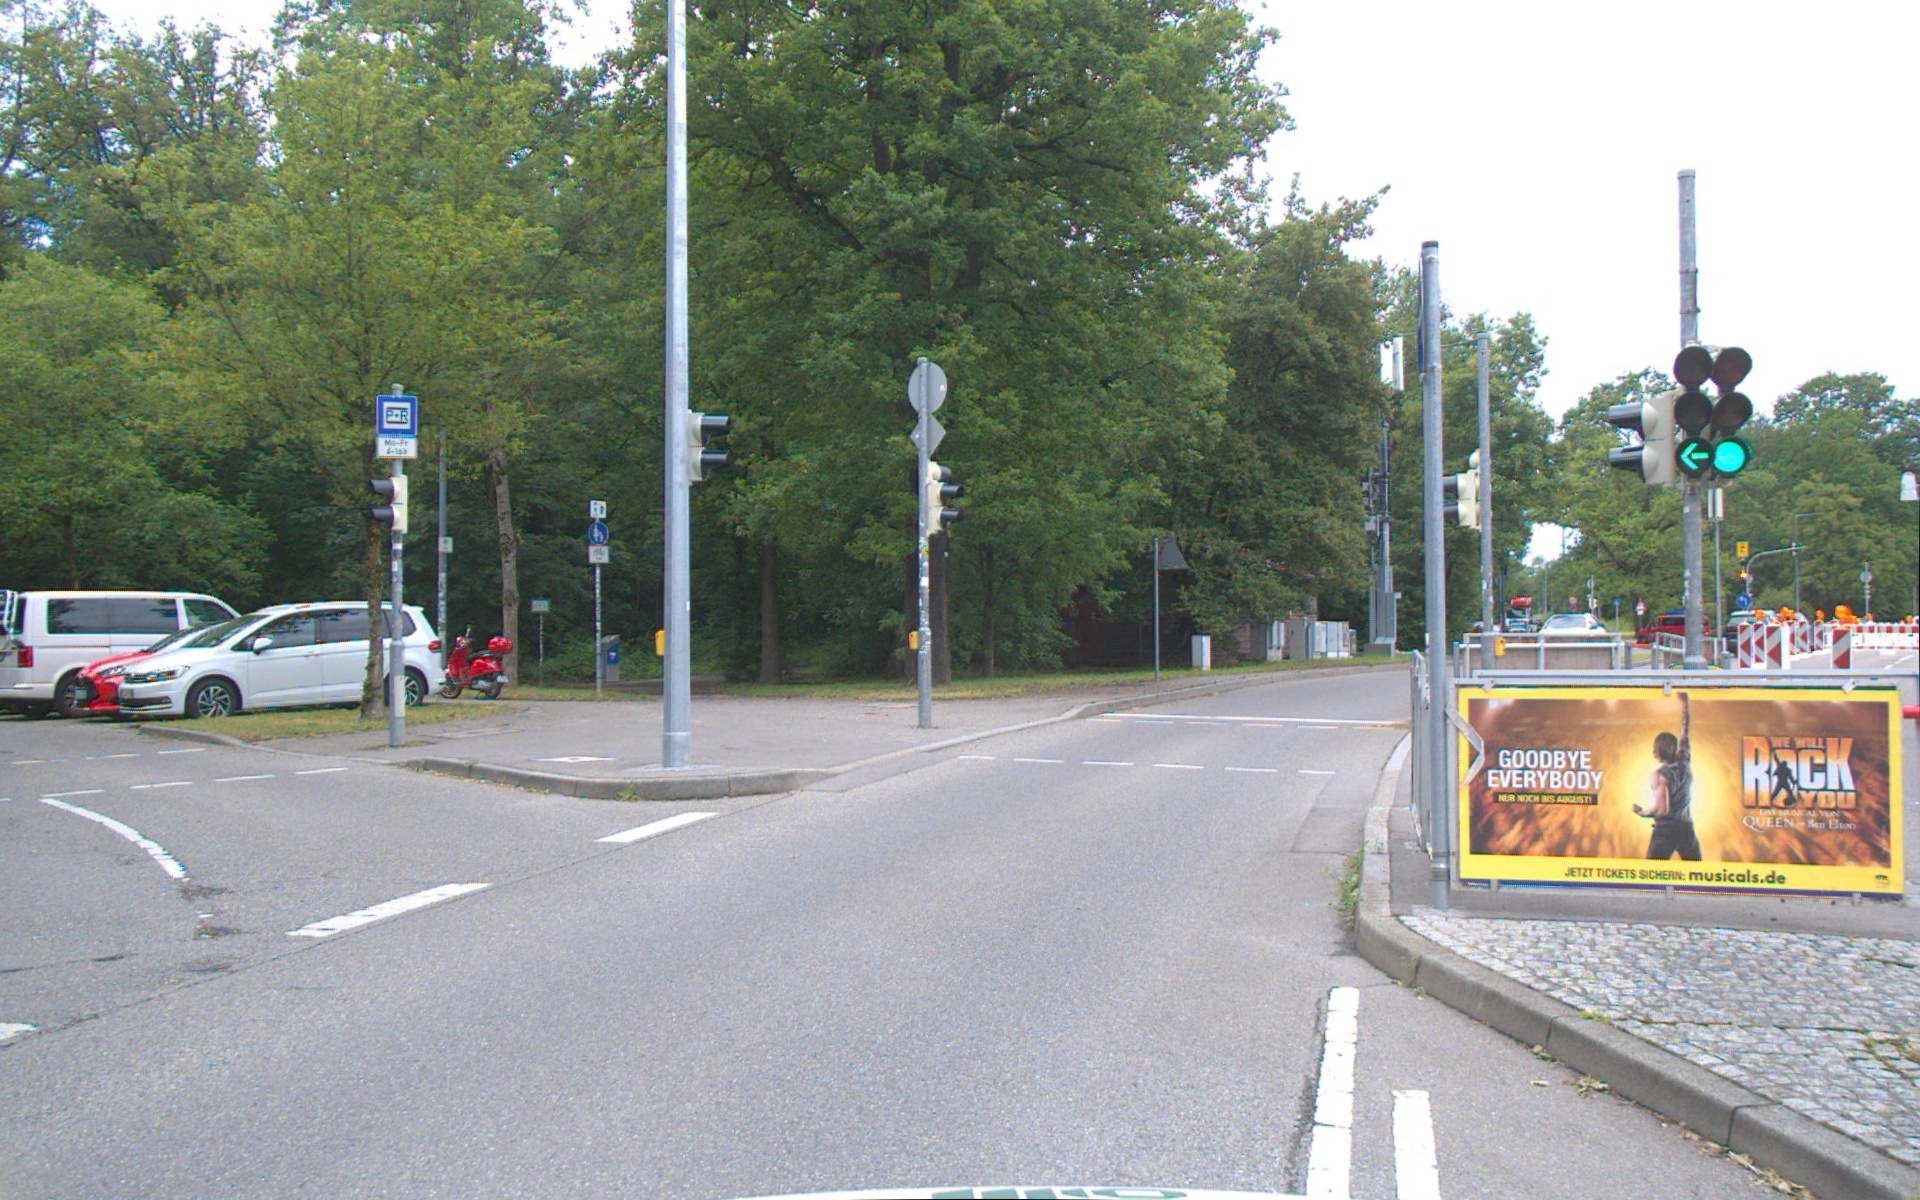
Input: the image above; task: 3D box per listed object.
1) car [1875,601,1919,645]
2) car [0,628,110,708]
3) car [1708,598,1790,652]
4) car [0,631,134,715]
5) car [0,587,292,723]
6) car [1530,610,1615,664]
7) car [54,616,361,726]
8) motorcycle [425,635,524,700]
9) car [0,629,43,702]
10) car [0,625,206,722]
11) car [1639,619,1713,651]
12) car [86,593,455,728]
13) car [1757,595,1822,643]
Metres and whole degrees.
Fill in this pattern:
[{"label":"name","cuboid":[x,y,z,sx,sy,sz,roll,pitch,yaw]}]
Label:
[{"label":"car","cuboid":[42.925,1.033,73.103,1.971,1.915,3.962,1,-1,-28]},{"label":"car","cuboid":[-19.341,1.355,32.087,1.817,1.501,4.765,-2,0,38]},{"label":"car","cuboid":[27.039,0.864,56.629,1.959,1.747,3.986,0,-1,34]},{"label":"car","cuboid":[-17.658,1.361,30.471,1.840,1.509,3.982,-4,-4,37]},{"label":"car","cuboid":[-13.811,0.888,27.476,2.044,2.057,4.640,-1,-2,39]},{"label":"car","cuboid":[21.382,1.270,57.621,1.957,1.780,4.567,0,-1,31]},{"label":"car","cuboid":[-11.682,1.060,25.816,3.980,1.582,1.915,1,-2,-45]},{"label":"motorcycle","cuboid":[-9.132,1.260,31.103,1.969,1.181,0.675,-1,-1,33]},{"label":"car","cuboid":[-21.379,1.415,33.783,1.880,1.506,4.227,-3,-1,35]},{"label":"car","cuboid":[-15.649,1.265,29.330,1.810,1.582,3.718,0,-1,37]},{"label":"car","cuboid":[43.494,2.113,100.524,1.963,1.915,3.978,1,-1,-19]},{"label":"car","cuboid":[-9.950,0.829,24.103,2.129,1.723,4.503,-3,-2,44]},{"label":"car","cuboid":[31.661,0.754,63.091,1.765,1.769,3.690,0,-1,34]}]
